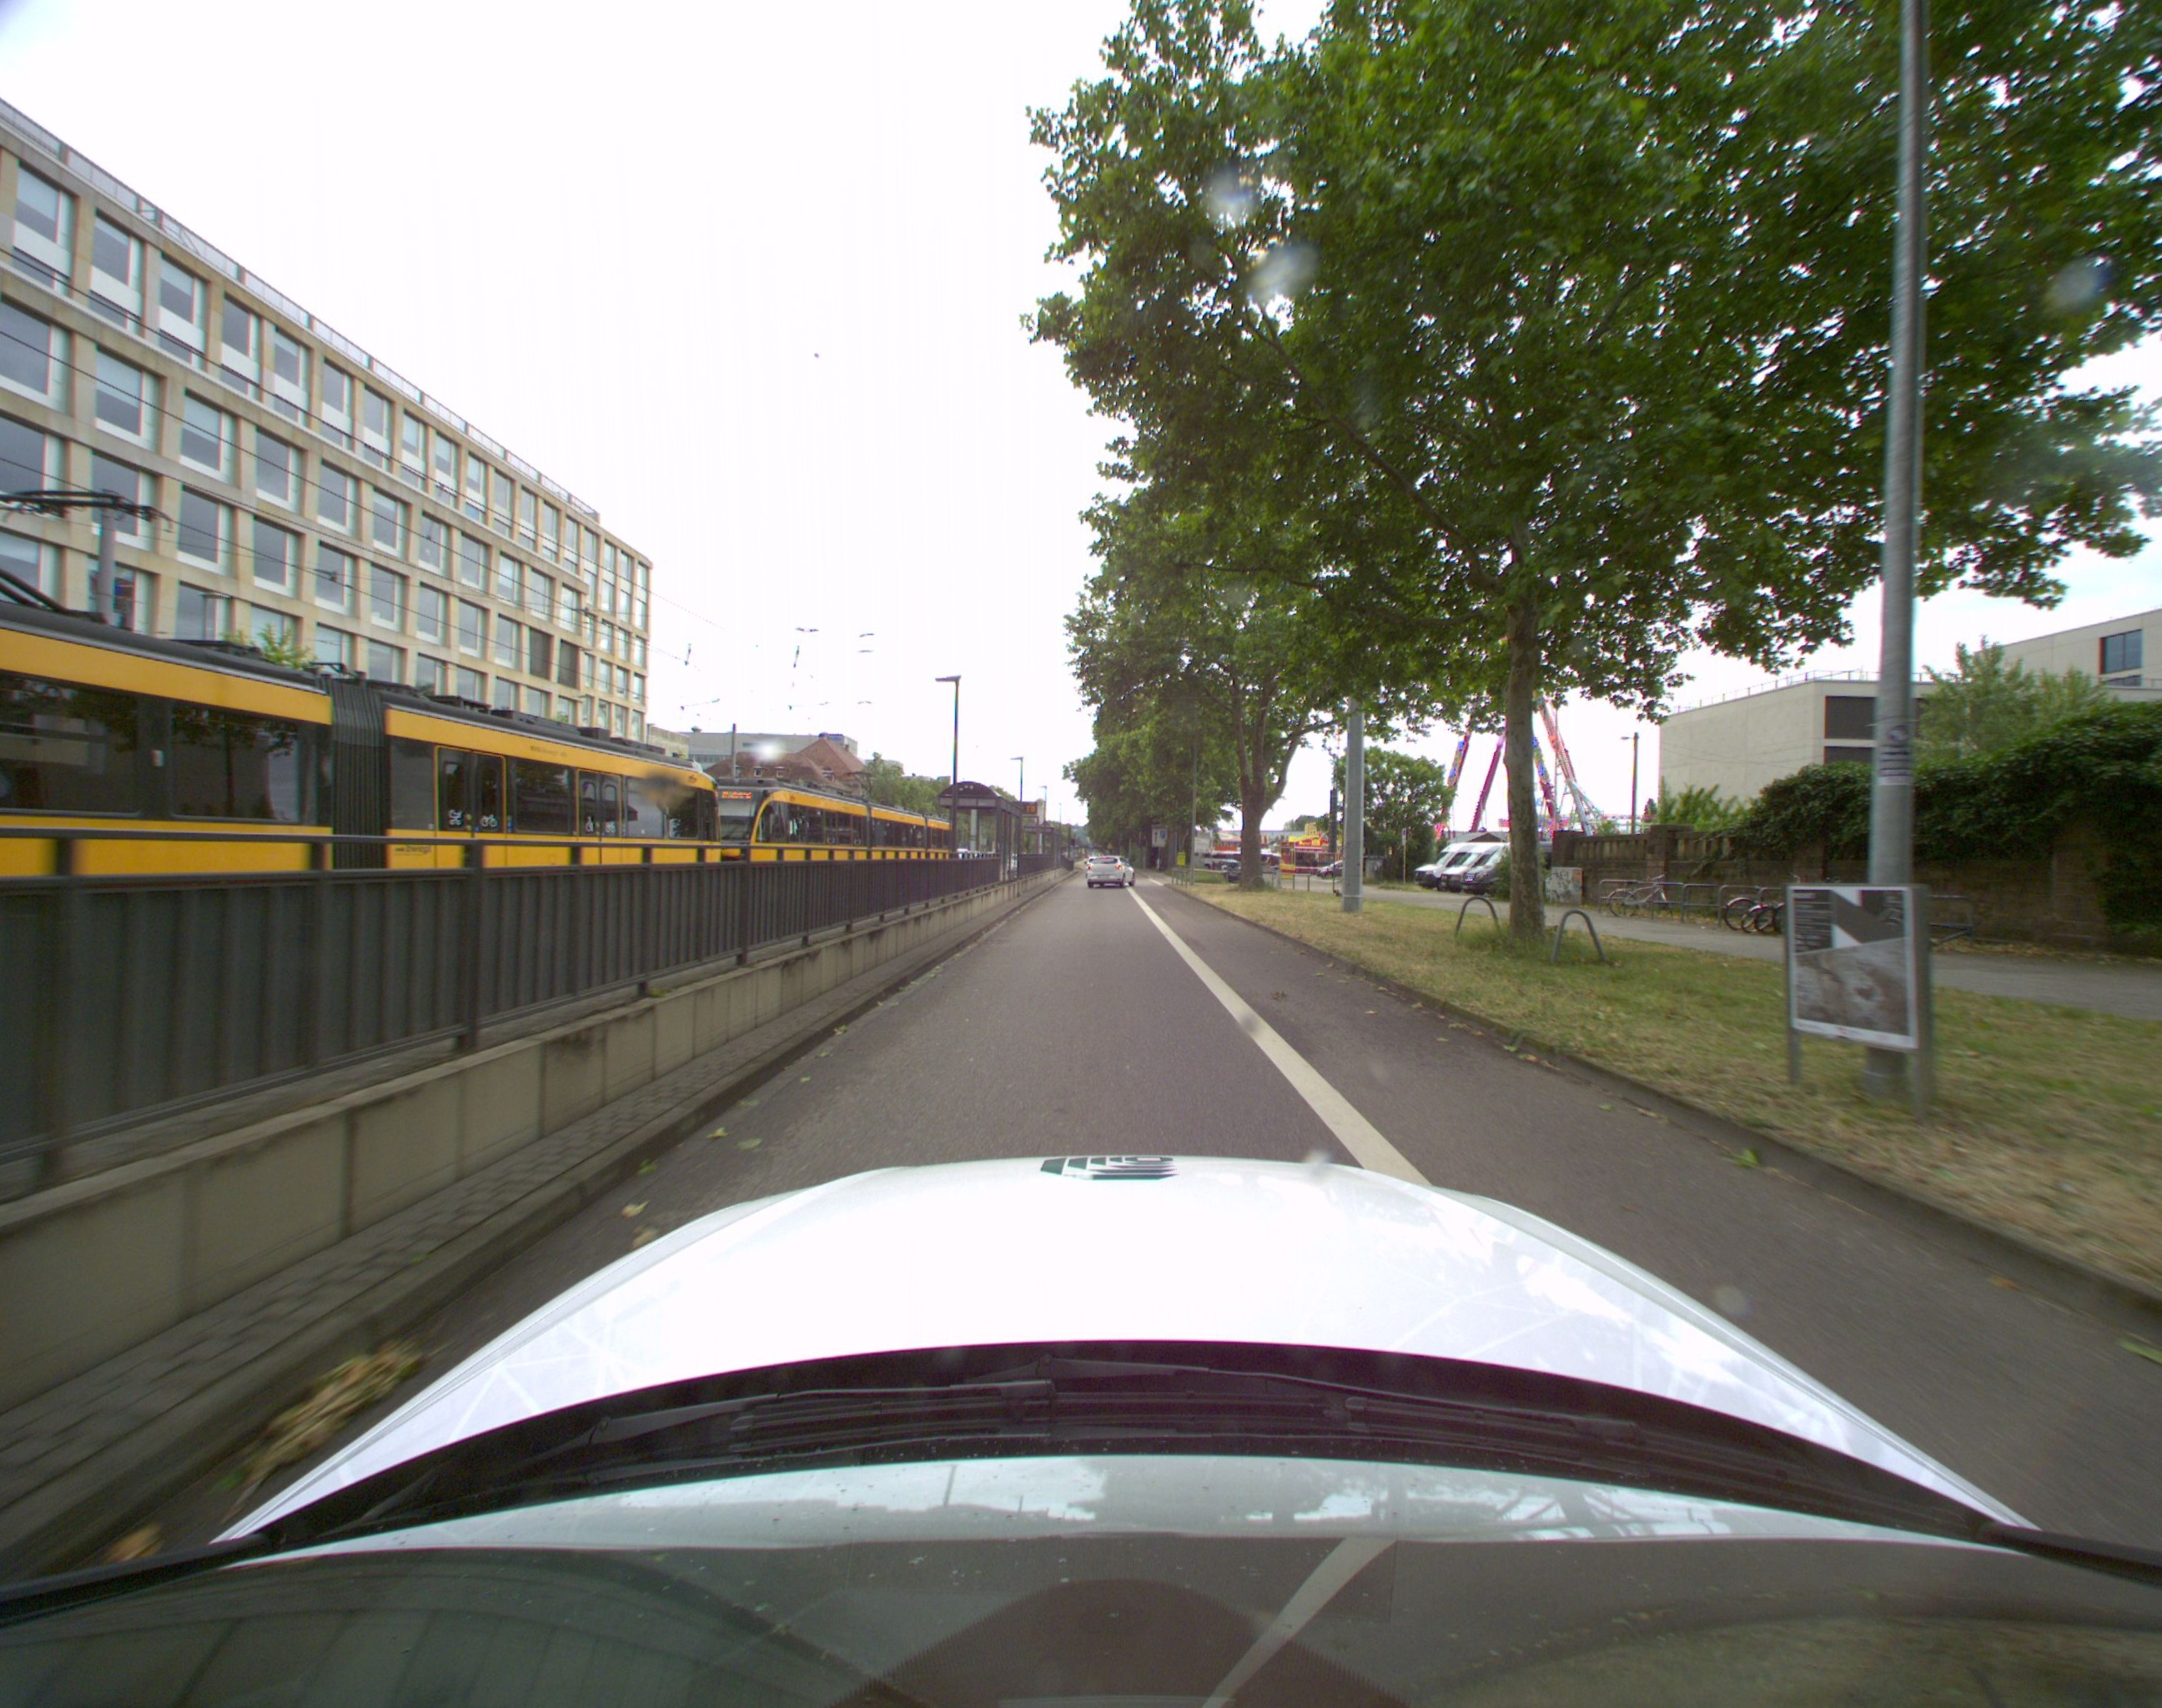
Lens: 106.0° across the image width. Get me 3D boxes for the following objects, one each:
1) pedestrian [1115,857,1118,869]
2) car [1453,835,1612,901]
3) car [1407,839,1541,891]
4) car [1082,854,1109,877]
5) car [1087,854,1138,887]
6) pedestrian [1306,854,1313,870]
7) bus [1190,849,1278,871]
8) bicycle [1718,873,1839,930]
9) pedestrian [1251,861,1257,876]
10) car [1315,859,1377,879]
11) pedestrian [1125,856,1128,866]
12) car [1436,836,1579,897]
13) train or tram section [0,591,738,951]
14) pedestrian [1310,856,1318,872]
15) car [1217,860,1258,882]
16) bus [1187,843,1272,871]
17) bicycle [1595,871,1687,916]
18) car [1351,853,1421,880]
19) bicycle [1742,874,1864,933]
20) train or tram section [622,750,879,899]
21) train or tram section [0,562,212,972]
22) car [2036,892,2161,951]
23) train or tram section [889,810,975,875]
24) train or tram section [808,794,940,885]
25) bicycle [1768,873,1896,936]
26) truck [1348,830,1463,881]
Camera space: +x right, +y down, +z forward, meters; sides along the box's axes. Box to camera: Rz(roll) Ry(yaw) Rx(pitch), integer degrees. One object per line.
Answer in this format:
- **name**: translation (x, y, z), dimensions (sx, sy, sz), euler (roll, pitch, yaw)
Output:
- **pedestrian**: translation (6.046, 1.436, 137.080), dimensions (0.393, 2.014, 0.404), euler (1, -1, 16)
- **car**: translation (19.948, 0.586, 36.189), dimensions (5.761, 2.522, 2.173), euler (3, 0, 3)
- **car**: translation (20.539, 0.590, 42.722), dimensions (6.005, 2.555, 2.099), euler (1, -1, -1)
- **car**: translation (1.105, 0.814, 59.144), dimensions (1.833, 1.552, 4.002), euler (1, 0, 2)
- **car**: translation (1.585, 0.785, 39.716), dimensions (1.873, 1.453, 4.011), euler (1, -1, 11)
- **pedestrian**: translation (23.869, 0.849, 85.027), dimensions (0.523, 1.687, 0.491), euler (1, -1, -15)
- **bus**: translation (16.768, 0.644, 89.356), dimensions (9.252, 2.227, 1.999), euler (1, -1, -2)
- **bicycle**: translation (13.934, 0.942, 16.295), dimensions (1.968, 1.095, 0.549), euler (0, -1, -1)
- **pedestrian**: translation (17.664, 1.459, 83.140), dimensions (0.491, 1.463, 0.523), euler (1, -1, -2)
- **car**: translation (22.145, 1.237, 68.287), dimensions (4.559, 1.575, 1.999), euler (1, -1, -1)
- **pedestrian**: translation (6.711, 1.025, 119.199), dimensions (0.394, 1.585, 0.539), euler (1, -1, 6)
- **car**: translation (20.537, 0.610, 39.355), dimensions (5.766, 2.535, 2.040), euler (3, -1, 0)
- **train or tram section**: translation (-11.575, -0.913, 16.358), dimensions (3.169, 4.179, 13.623), euler (1, -1, 1)
- **pedestrian**: translation (24.448, 1.010, 85.471), dimensions (0.523, 1.687, 0.491), euler (1, -1, -15)
- **car**: translation (10.724, 1.159, 56.162), dimensions (1.859, 1.430, 3.995), euler (1, -1, -3)
- **bus**: translation (16.877, 0.382, 92.578), dimensions (9.252, 2.960, 1.999), euler (1, -1, -2)
- **bicycle**: translation (13.892, 0.968, 20.237), dimensions (1.916, 1.091, 0.549), euler (0, -1, -1)
- **car**: translation (23.224, 0.940, 62.101), dimensions (4.559, 2.013, 2.000), euler (0, 0, -1)
- **bicycle**: translation (13.862, 0.935, 15.657), dimensions (1.894, 1.097, 0.549), euler (0, -1, -1)
- **train or tram section**: translation (-11.242, -0.762, 30.563), dimensions (3.169, 4.179, 14.737), euler (1, -1, 1)
- **train or tram section**: translation (-11.874, -0.887, 3.808), dimensions (3.152, 3.862, 11.314), euler (1, -1, 1)
- **car**: translation (28.274, 1.789, 21.554), dimensions (3.529, 1.420, 1.619), euler (1, -1, 25)
- **train or tram section**: translation (-10.591, -0.680, 60.021), dimensions (3.169, 4.179, 14.737), euler (1, -1, 1)
- **train or tram section**: translation (-10.899, -0.606, 45.268), dimensions (3.169, 4.179, 14.737), euler (1, -1, 1)
- **bicycle**: translation (13.884, 0.925, 15.078), dimensions (1.884, 1.105, 0.549), euler (0, -1, -1)
- **truck**: translation (25.843, 0.161, 65.136), dimensions (8.165, 3.822, 2.599), euler (1, -1, -1)
